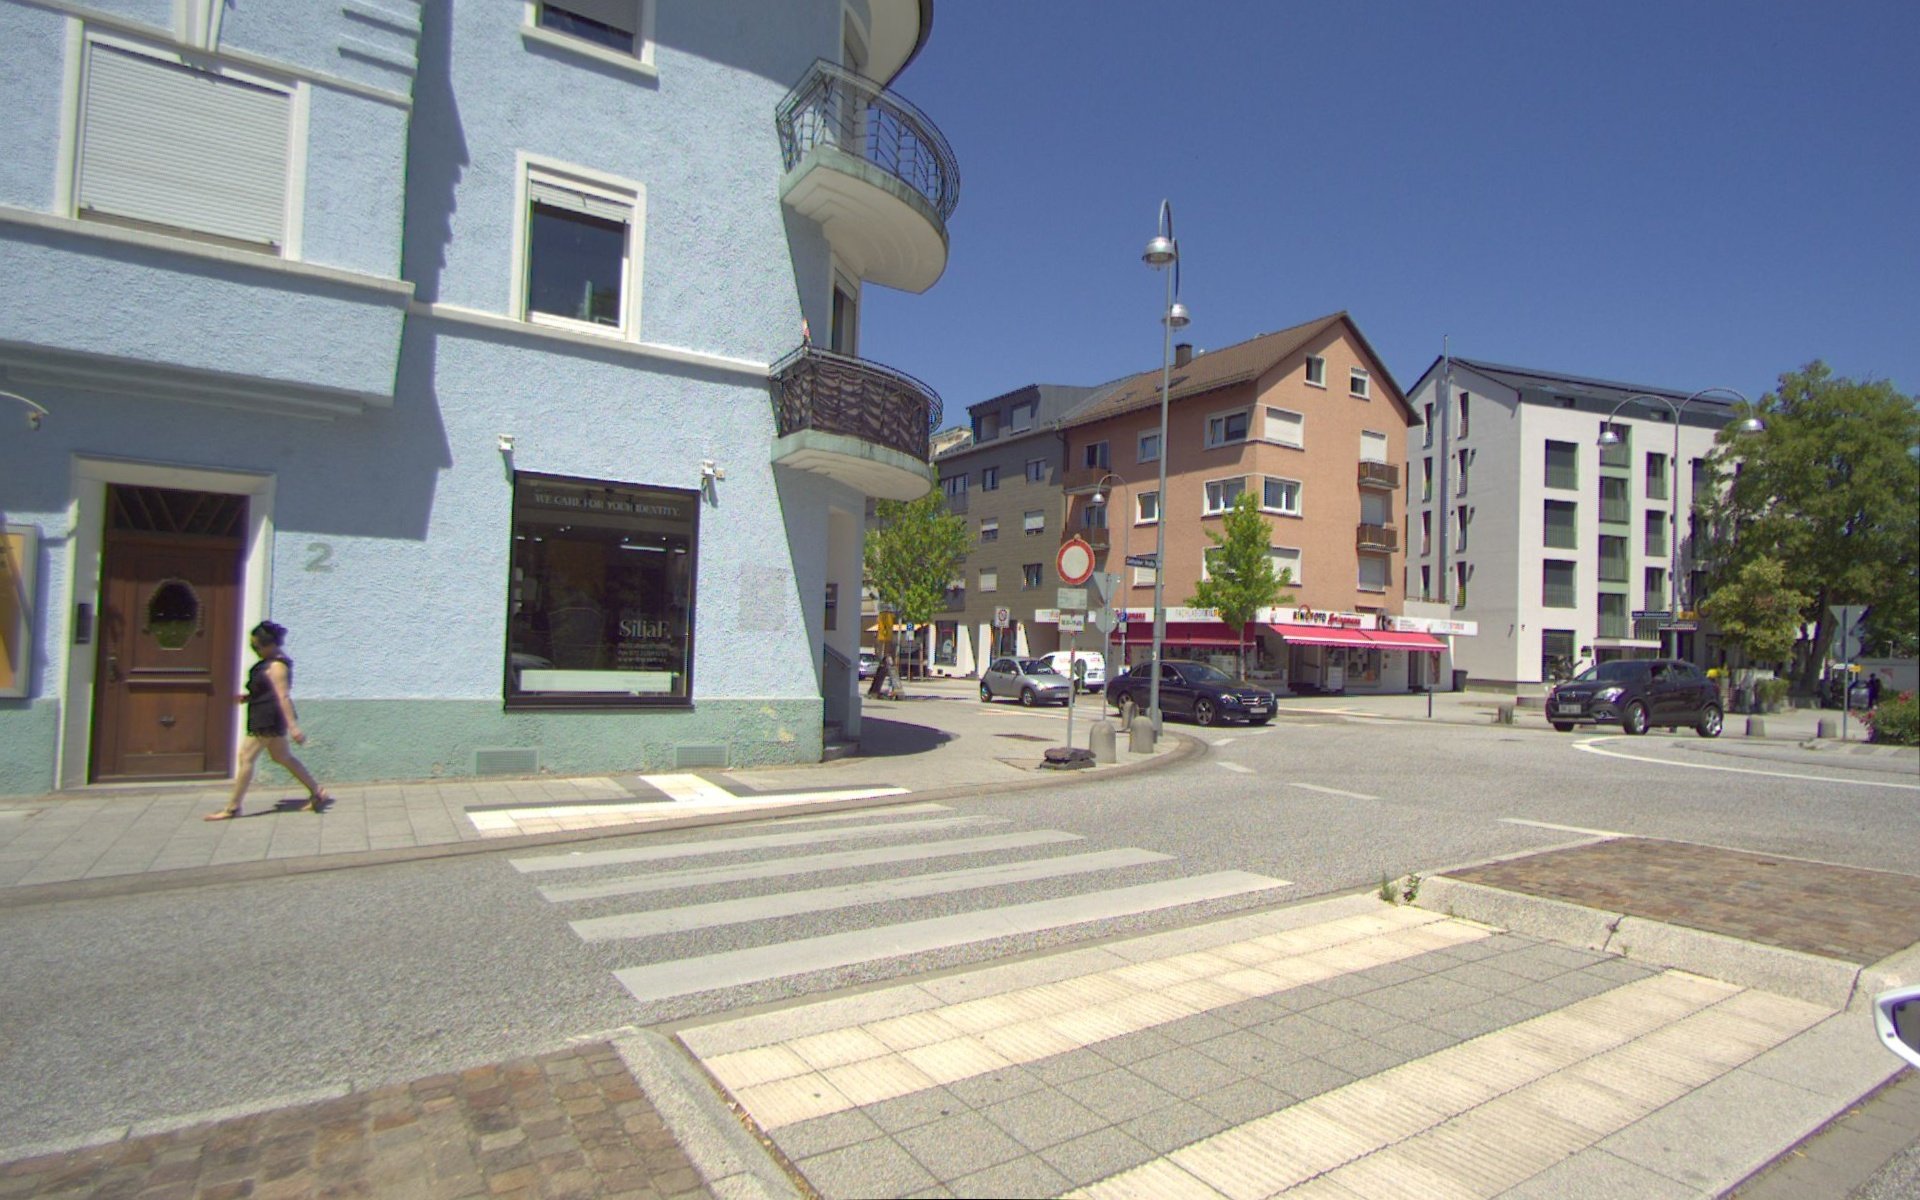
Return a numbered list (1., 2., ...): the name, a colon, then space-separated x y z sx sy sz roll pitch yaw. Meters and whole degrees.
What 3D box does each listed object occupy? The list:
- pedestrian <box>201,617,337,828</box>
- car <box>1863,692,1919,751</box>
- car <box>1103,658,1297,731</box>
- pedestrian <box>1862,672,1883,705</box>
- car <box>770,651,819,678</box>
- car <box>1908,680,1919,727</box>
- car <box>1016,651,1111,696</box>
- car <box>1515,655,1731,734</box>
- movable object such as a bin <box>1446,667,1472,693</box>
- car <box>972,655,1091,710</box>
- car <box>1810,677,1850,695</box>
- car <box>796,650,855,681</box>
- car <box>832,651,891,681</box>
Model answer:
1. pedestrian: -5.410 0.929 7.912 0.795 1.545 0.623 3 -1 -33
2. car: 25.263 3.032 25.171 4.217 1.399 1.928 2 -4 -16
3. car: 5.684 2.199 24.438 1.976 1.497 4.673 2 -3 -29
4. pedestrian: 42.674 4.114 46.966 0.547 1.504 0.530 3 -3 -18
5. car: -10.688 4.121 64.542 1.708 1.604 4.191 2 -3 -30
6. car: 35.669 3.752 36.041 3.965 1.611 1.782 4 -1 -38
7. car: 4.312 3.058 42.368 1.740 1.747 3.862 2 -3 -42
8. car: 14.575 2.052 22.109 4.106 1.582 1.990 2 -5 -23
9. movable object such as a bin: 23.537 3.767 47.360 0.748 1.170 0.771 2 0 -15
10. car: 2.119 2.475 30.826 1.835 1.497 3.879 2 -3 -29
11. car: 73.934 7.329 85.442 1.516 1.396 3.998 0 -3 25
12. car: -8.039 3.858 59.906 1.750 1.728 4.666 2 -3 -31
13. car: -5.480 3.614 55.555 1.728 1.570 3.911 2 -3 -31
